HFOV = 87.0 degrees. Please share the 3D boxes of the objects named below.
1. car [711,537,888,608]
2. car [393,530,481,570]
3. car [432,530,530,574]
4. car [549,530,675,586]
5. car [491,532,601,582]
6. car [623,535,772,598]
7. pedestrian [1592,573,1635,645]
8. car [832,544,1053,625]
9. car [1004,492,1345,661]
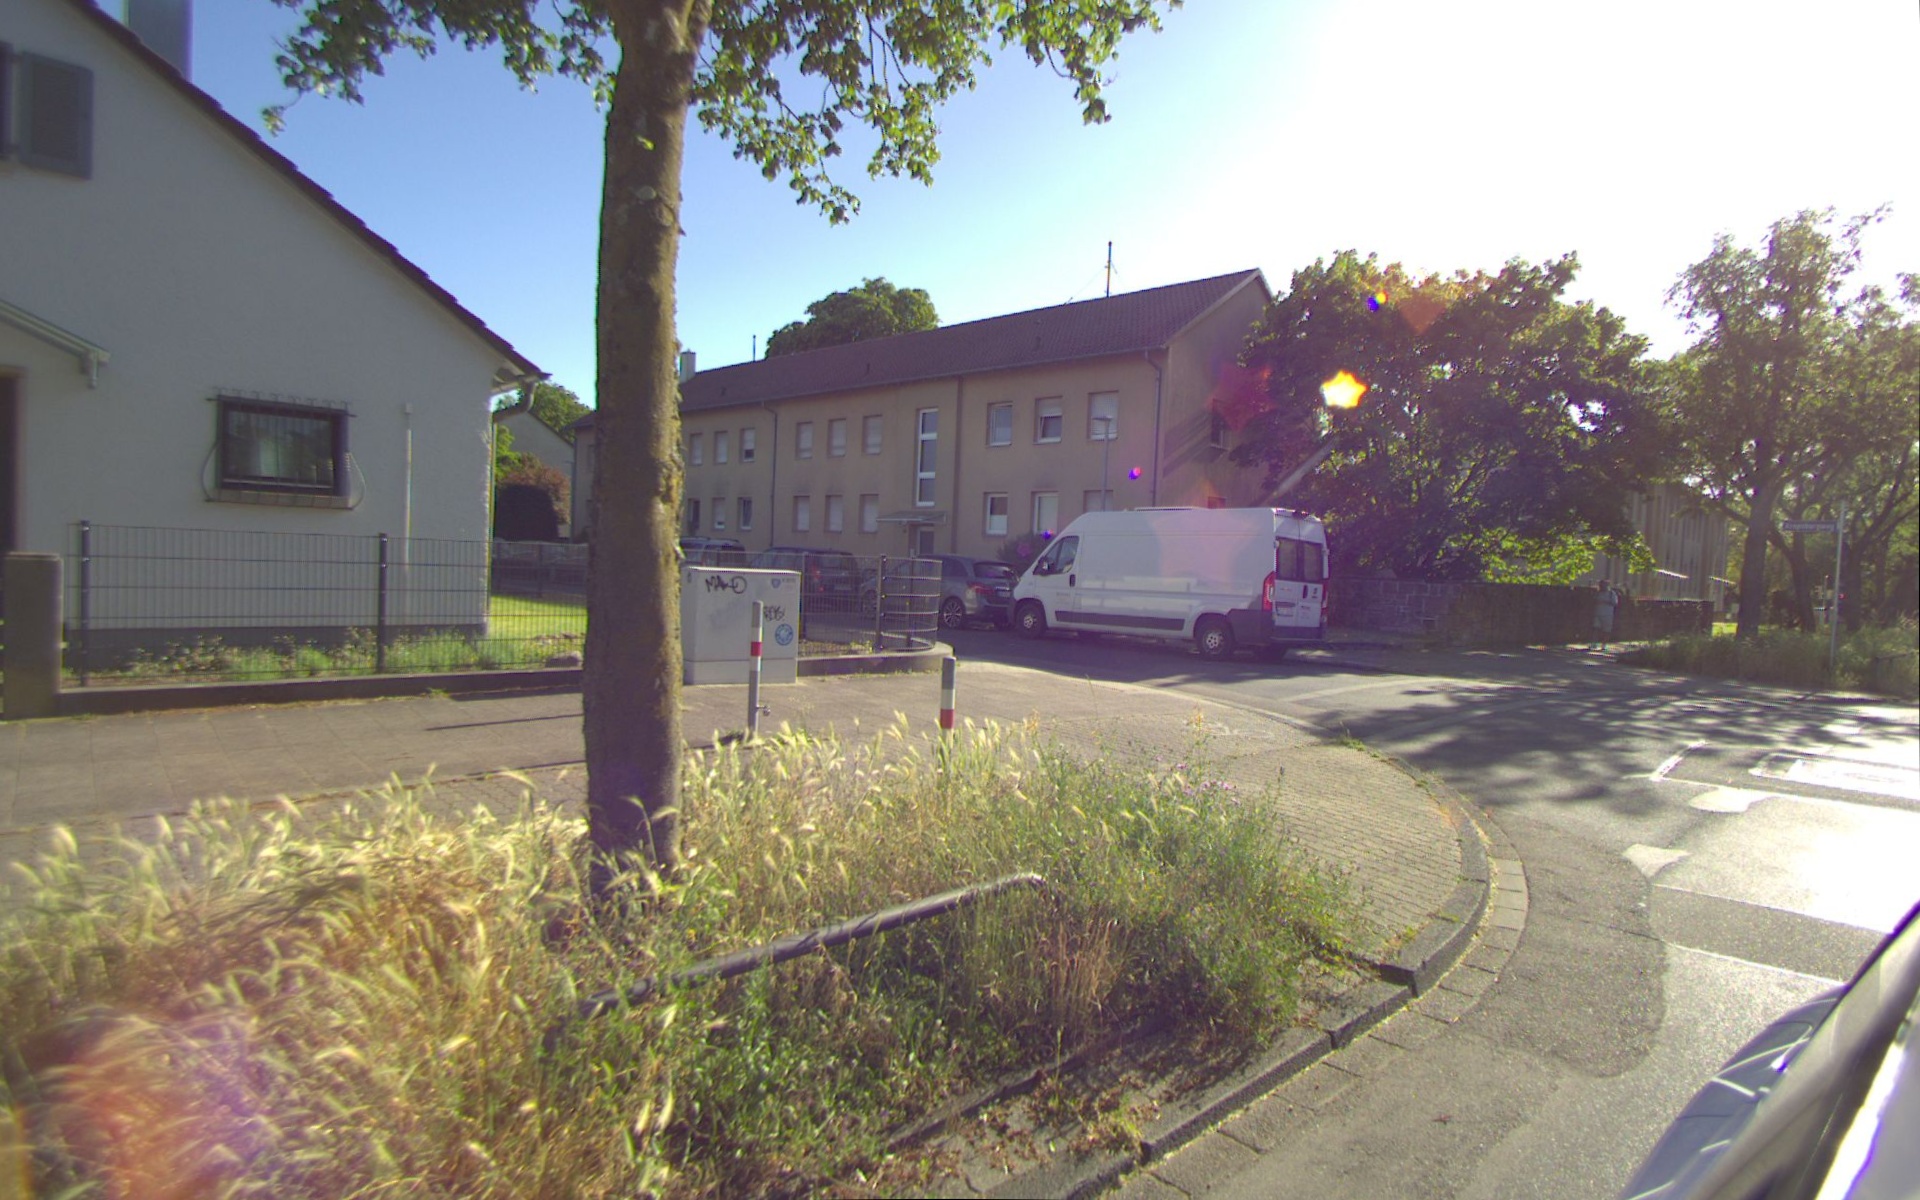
[{"bbox_3d":[-4.300,-0.783,26.706,2.250,1.600,4.744,-6,6,-44],"label":"car"},{"bbox_3d":[-24.227,-2.299,46.823,2.248,1.668,4.744,2,0,-45],"label":"car"},{"bbox_3d":[-20.317,-2.019,42.831,2.248,1.668,4.744,2,0,-45],"label":"car"},{"bbox_3d":[-12.086,-1.439,35.017,2.248,1.708,4.744,2,0,-45],"label":"car"},{"bbox_3d":[-15.904,-1.644,38.771,2.248,1.708,4.744,2,0,-45],"label":"car"},{"bbox_3d":[-8.018,-1.015,30.657,2.248,1.708,4.744,2,0,-45],"label":"car"},{"bbox_3d":[16.414,0.228,25.420,0.602,1.726,0.638,2,4,-43],"label":"pedestrian"},{"bbox_3d":[-0.481,-0.366,22.498,2.248,1.601,4.744,2,0,-45],"label":"car"},{"bbox_3d":[3.638,-0.506,18.158,2.229,2.570,5.600,1,3,-45],"label":"car"}]
